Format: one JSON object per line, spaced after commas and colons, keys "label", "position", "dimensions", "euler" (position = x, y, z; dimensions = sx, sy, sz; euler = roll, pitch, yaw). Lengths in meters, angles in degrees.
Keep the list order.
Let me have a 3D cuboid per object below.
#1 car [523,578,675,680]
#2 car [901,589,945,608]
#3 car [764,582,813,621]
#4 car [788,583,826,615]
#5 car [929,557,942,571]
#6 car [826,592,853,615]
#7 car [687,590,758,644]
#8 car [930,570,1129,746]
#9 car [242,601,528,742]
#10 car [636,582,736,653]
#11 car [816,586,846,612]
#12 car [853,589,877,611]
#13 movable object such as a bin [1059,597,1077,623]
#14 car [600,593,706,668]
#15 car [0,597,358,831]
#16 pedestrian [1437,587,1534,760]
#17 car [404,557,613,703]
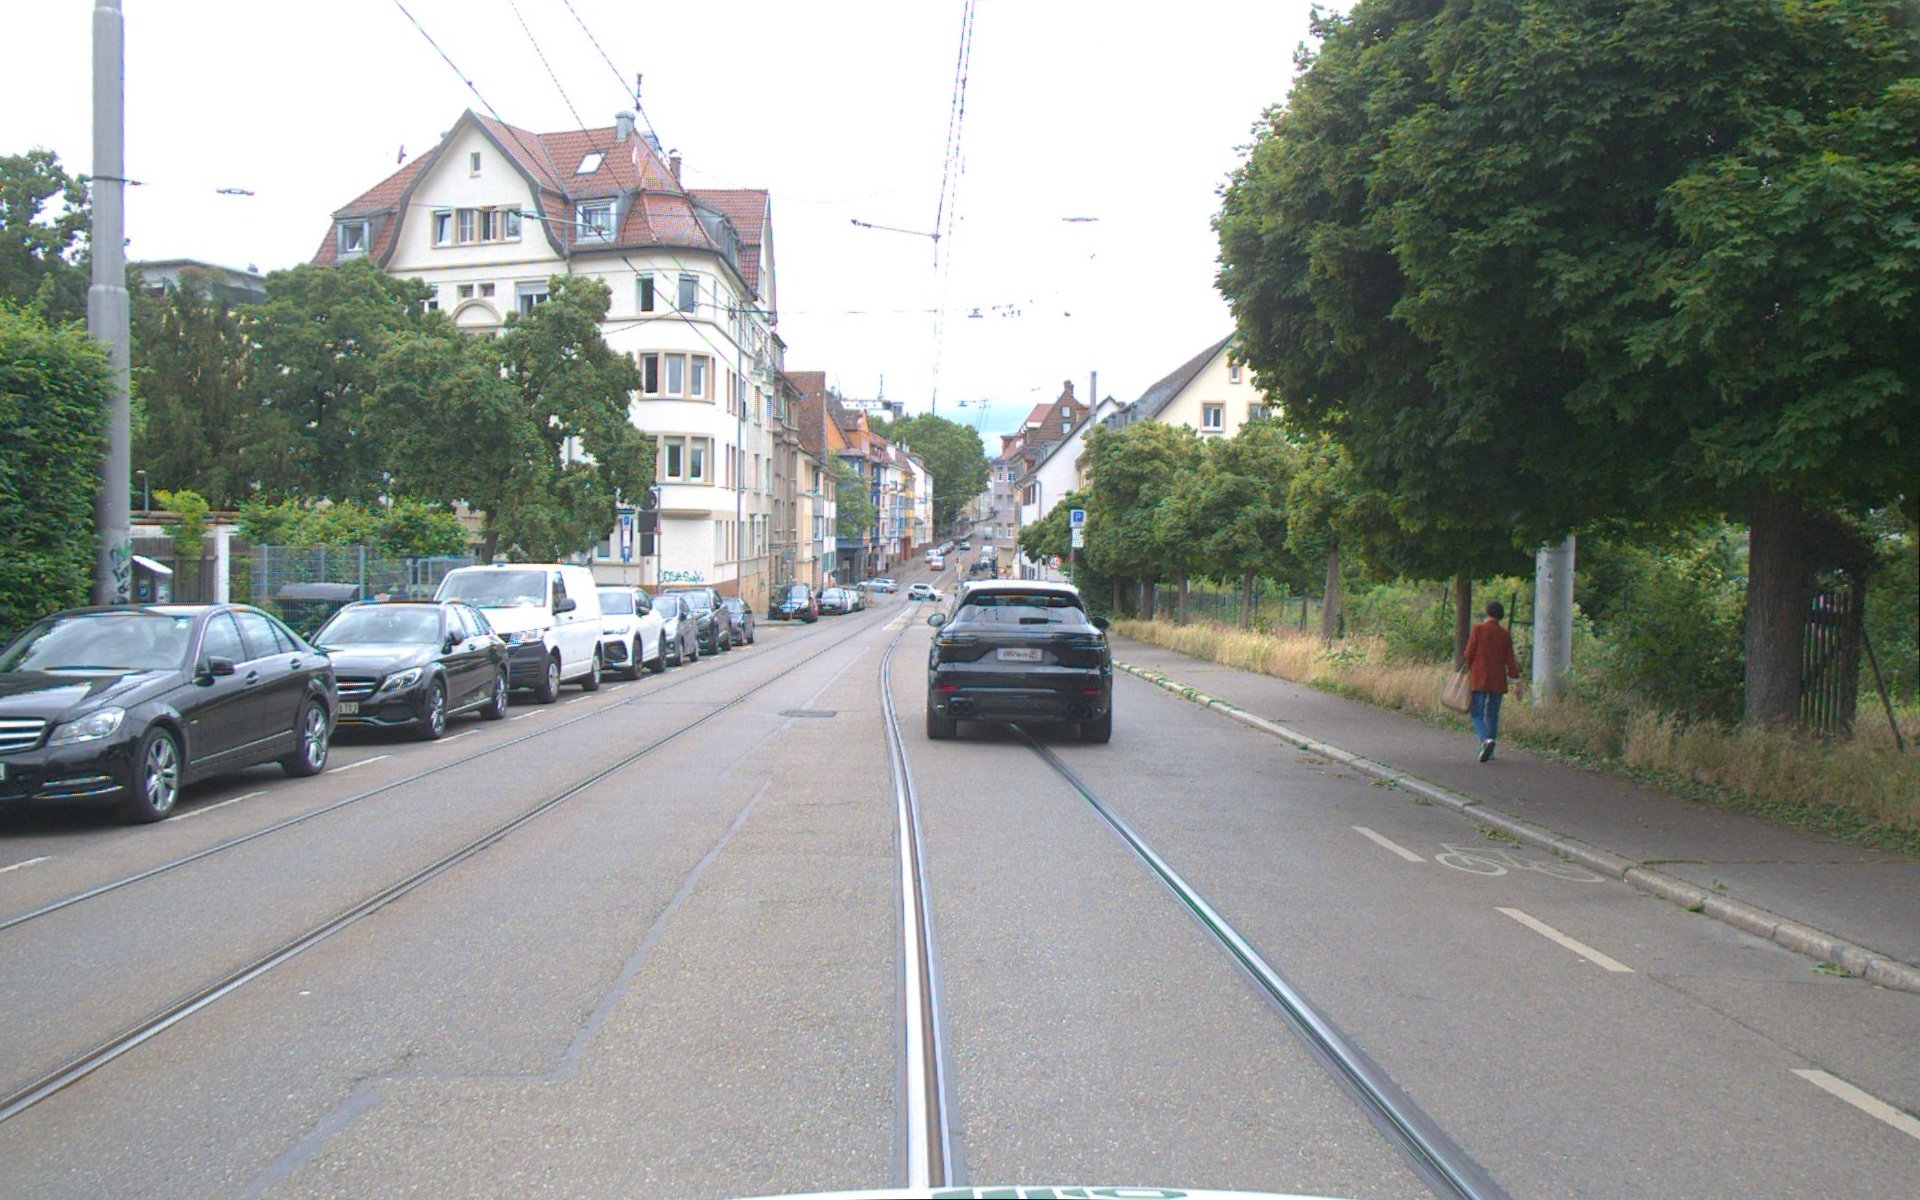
{"label": "car", "position": [-6.542, 0.518, 30.477], "dimensions": [1.929, 1.716, 4.631], "euler": [0, -1, -2]}
{"label": "car", "position": [-3.595, -0.119, 161.742], "dimensions": [3.747, 1.800, 2.000], "euler": [1, 0, 23]}
{"label": "car", "position": [-7.563, 0.075, 73.368], "dimensions": [1.830, 1.675, 4.400], "euler": [0, -1, -2]}
{"label": "car", "position": [-7.353, -0.019, 79.479], "dimensions": [1.588, 1.489, 3.744], "euler": [0, -1, -2]}
{"label": "car", "position": [-3.396, -5.018, 231.299], "dimensions": [1.715, 1.790, 4.253], "euler": [1, 0, 0]}
{"label": "car", "position": [-7.931, 0.230, 109.014], "dimensions": [1.588, 1.489, 3.683], "euler": [0, -1, -2]}
{"label": "car", "position": [-6.908, 0.501, 48.445], "dimensions": [1.588, 1.503, 4.154], "euler": [0, -1, -2]}
{"label": "car", "position": [0.663, 0.578, 18.439], "dimensions": [1.953, 1.705, 3.999], "euler": [1, 0, -1]}
{"label": "car", "position": [-6.345, 0.741, 18.822], "dimensions": [1.803, 1.411, 4.516], "euler": [0, -1, -2]}
{"label": "car", "position": [-6.880, 0.444, 41.986], "dimensions": [1.929, 1.716, 4.442], "euler": [0, -1, -2]}
{"label": "car", "position": [-7.656, -0.051, 98.126], "dimensions": [1.588, 1.489, 4.031], "euler": [0, -1, -2]}
{"label": "car", "position": [-6.753, 0.036, 117.525], "dimensions": [1.588, 1.499, 4.554], "euler": [0, -1, -2]}
{"label": "movable object such as a bin", "position": [5.340, 0.491, 81.821], "dimensions": [0.776, 1.239, 0.788], "euler": [1, 0, -5]}
{"label": "car", "position": [-6.612, 0.642, 35.988], "dimensions": [1.703, 1.535, 3.867], "euler": [0, -1, -2]}
{"label": "car", "position": [-6.090, 0.709, 12.195], "dimensions": [1.803, 1.411, 4.438], "euler": [0, -1, -2]}
{"label": "pedestrian", "position": [5.164, 0.710, 16.278], "dimensions": [0.700, 1.649, 0.718], "euler": [1, 0, -1]}
{"label": "car", "position": [-6.540, 0.425, 24.524], "dimensions": [1.929, 1.946, 4.733], "euler": [0, -1, -2]}
